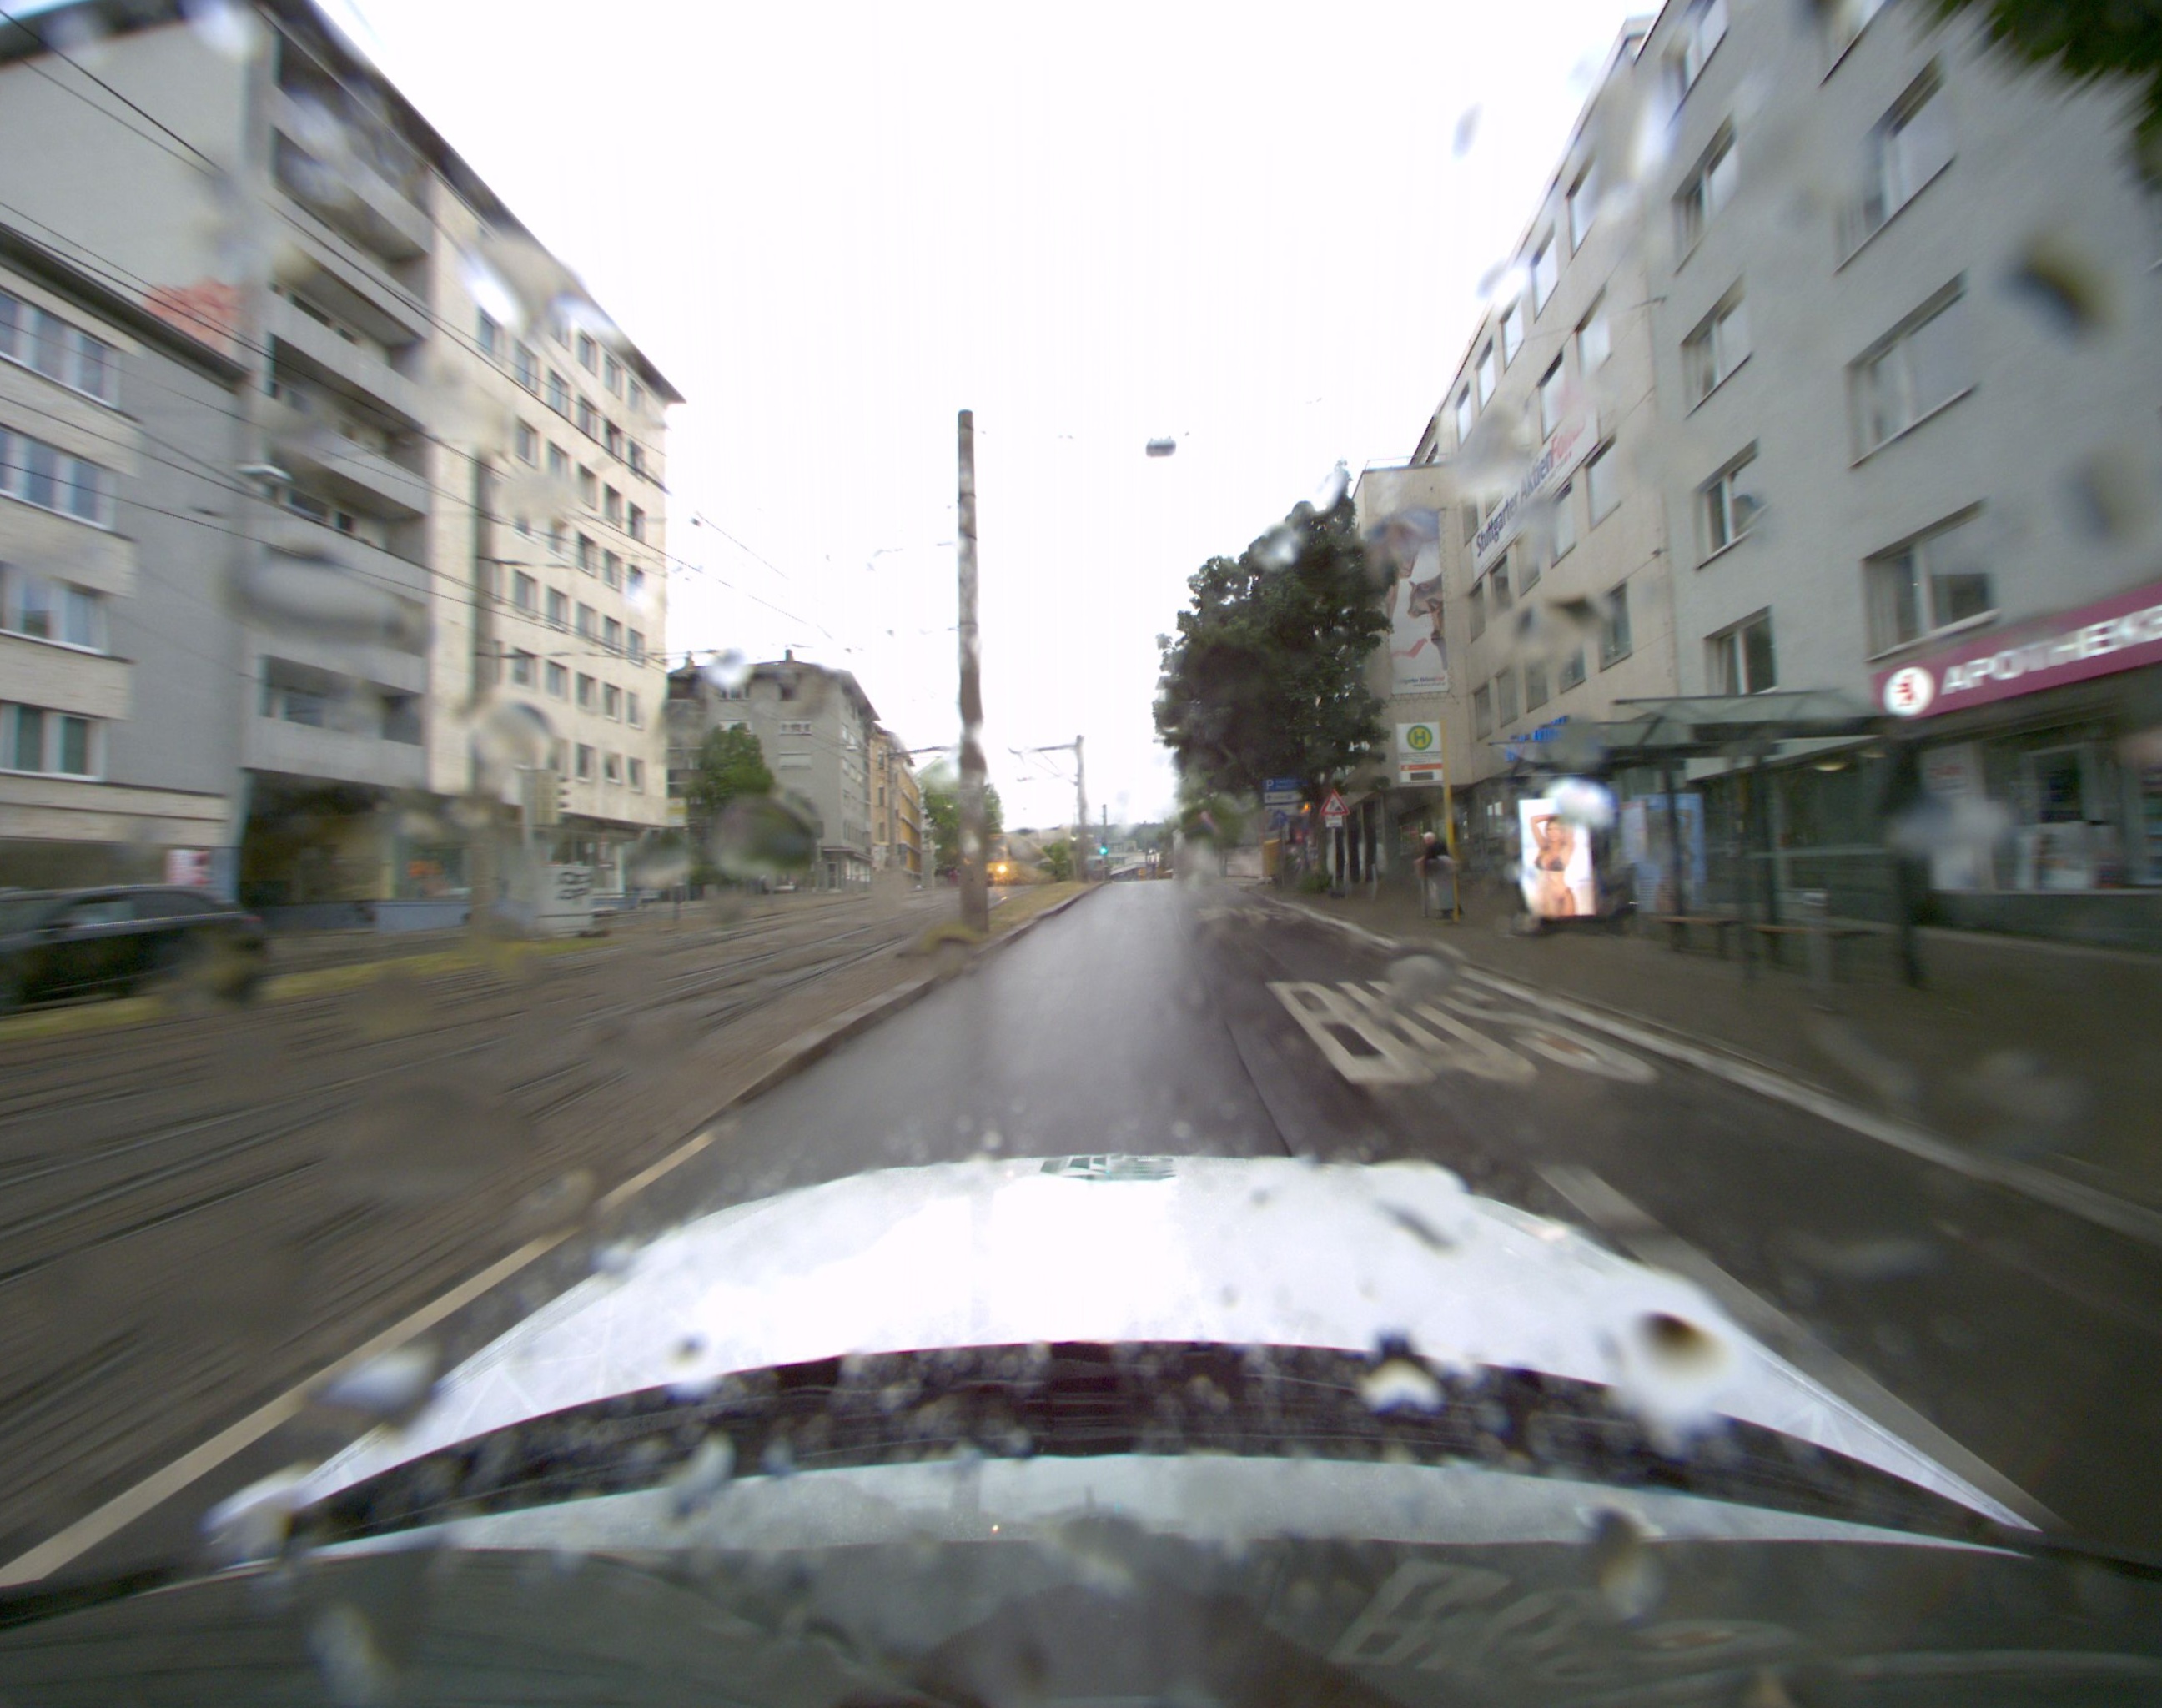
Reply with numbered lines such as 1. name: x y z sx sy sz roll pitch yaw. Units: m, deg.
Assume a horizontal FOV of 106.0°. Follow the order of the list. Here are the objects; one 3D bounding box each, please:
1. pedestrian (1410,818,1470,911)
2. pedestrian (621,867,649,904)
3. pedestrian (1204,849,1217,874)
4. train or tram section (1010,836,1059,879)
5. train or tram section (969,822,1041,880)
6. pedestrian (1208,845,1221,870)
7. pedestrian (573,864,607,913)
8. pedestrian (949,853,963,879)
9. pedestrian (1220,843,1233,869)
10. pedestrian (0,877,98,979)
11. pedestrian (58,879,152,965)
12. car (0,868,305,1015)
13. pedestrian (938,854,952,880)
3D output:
1. pedestrian: 6.602 0.190 15.015 0.662 1.626 0.969 -2 0 4
2. pedestrian: -19.145 1.338 34.969 0.674 1.548 0.777 -3 0 3
3. pedestrian: 9.206 0.503 57.982 0.734 1.729 1.119 -2 0 1
4. train or tram section: -4.385 0.551 81.501 2.735 3.697 18.982 -2 -2 3
5. train or tram section: -5.417 0.042 62.506 2.735 3.697 18.982 -2 -2 3
6. pedestrian: 9.728 0.254 59.275 0.697 1.815 0.977 -2 0 1
7. pedestrian: -18.074 1.246 29.994 0.594 1.738 0.910 -3 0 3
8. pedestrian: -8.897 0.866 57.918 0.729 1.790 0.697 -3 0 3
9. pedestrian: 10.485 0.150 58.746 0.697 1.785 1.067 -2 0 1
10. pedestrian: -18.395 1.291 14.346 0.882 1.681 1.001 -3 0 8
11. pedestrian: -20.395 1.391 17.047 0.676 1.681 0.999 -3 0 3
12. car: -13.782 1.125 10.981 1.984 1.673 4.533 -3 0 5
13. pedestrian: -9.687 0.906 58.048 0.729 1.790 0.697 -3 0 3
